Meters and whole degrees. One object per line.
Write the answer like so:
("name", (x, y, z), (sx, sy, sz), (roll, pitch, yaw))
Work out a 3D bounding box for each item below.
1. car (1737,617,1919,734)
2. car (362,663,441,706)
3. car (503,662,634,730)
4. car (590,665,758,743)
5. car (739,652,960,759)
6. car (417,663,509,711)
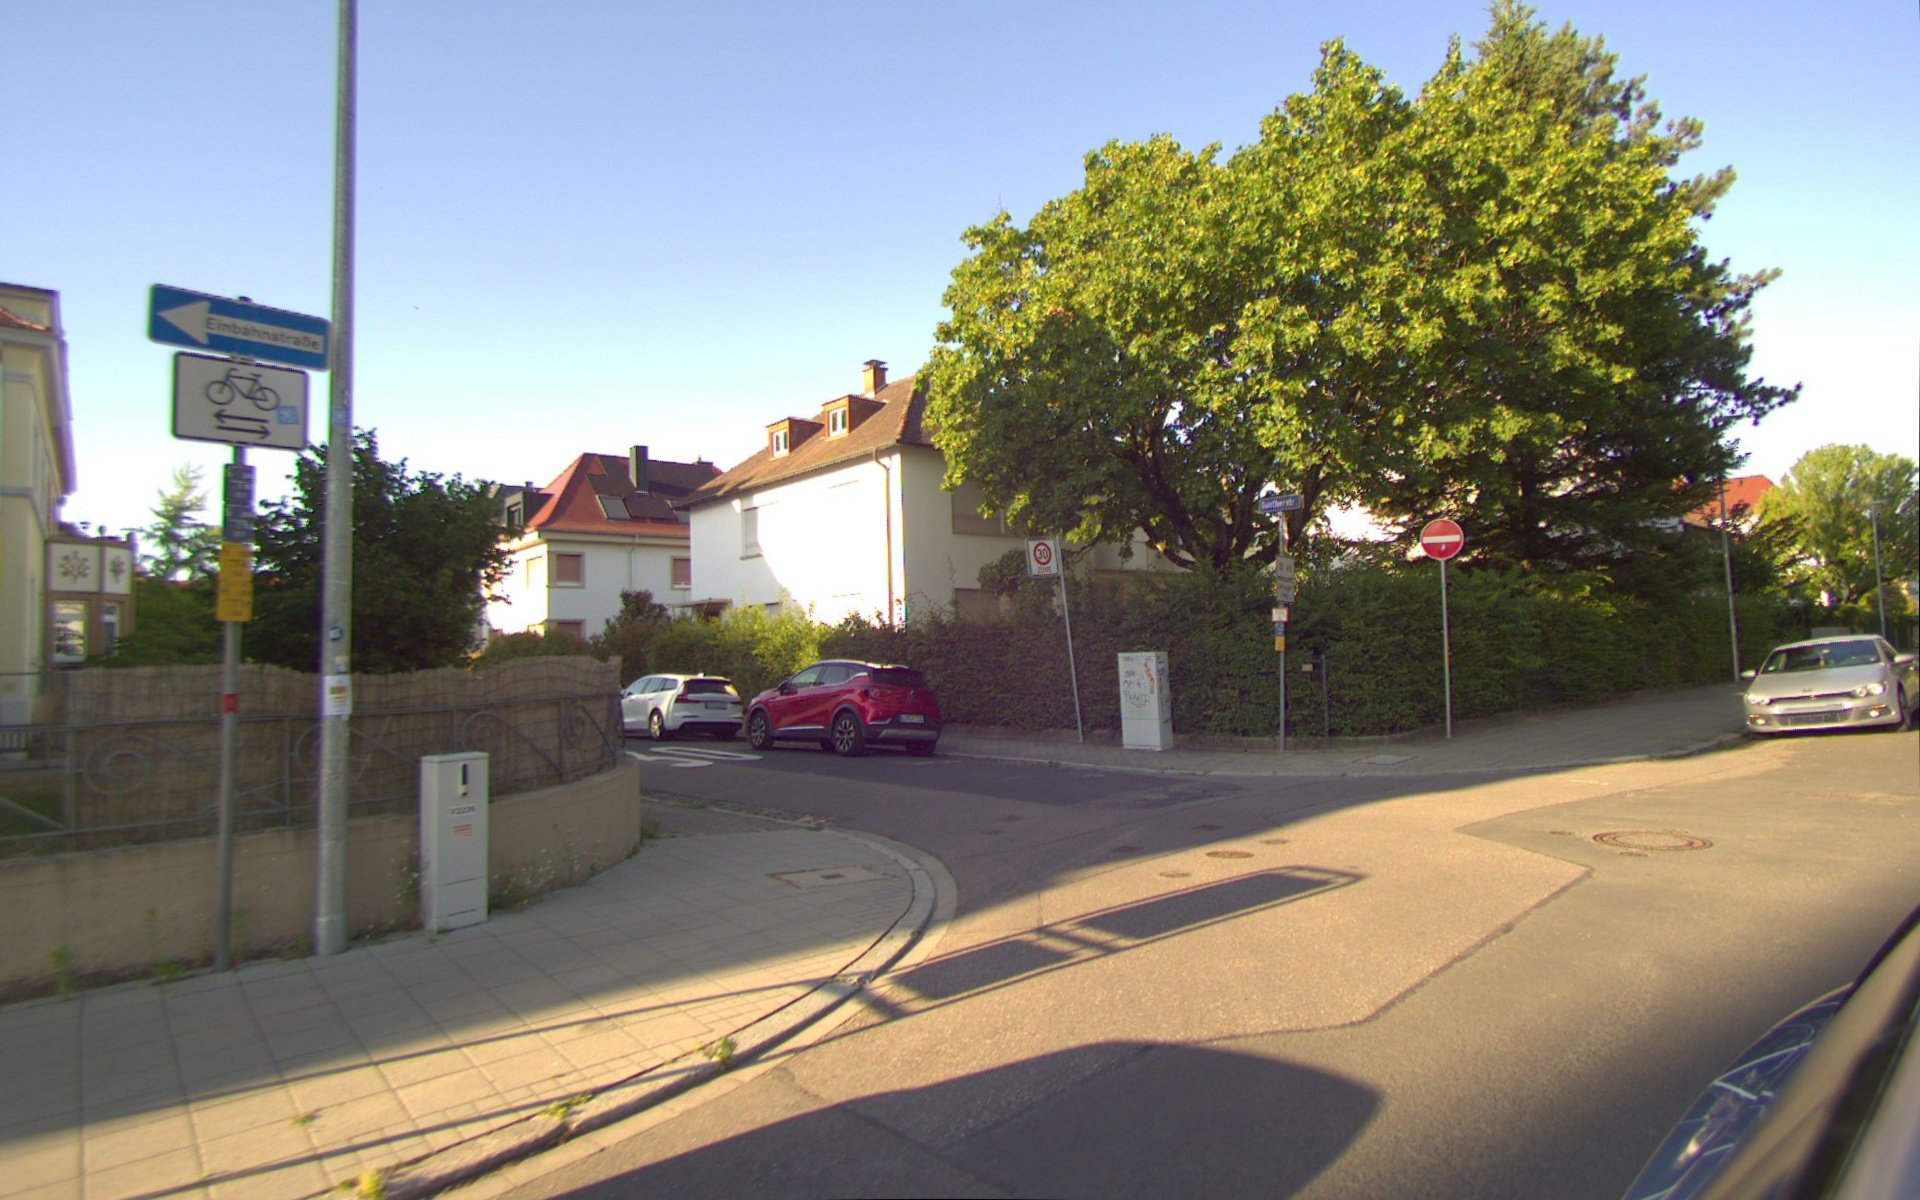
("car", (13.518, 1.116, 15.360), (4.000, 1.439, 1.758), (1, -10, -41))
("car", (-22.962, 3.468, 41.547), (1.750, 1.646, 4.247), (5, -7, -43))
("car", (-10.643, 2.577, 27.372), (1.750, 1.647, 4.247), (8, -8, -43))
("car", (-6.492, 2.317, 22.732), (1.839, 1.546, 4.248), (9, -9, -42))
("car", (-1.995, 1.814, 17.584), (1.815, 1.631, 3.845), (9, -9, -43))
("car", (-18.149, 3.163, 36.850), (1.750, 1.647, 4.247), (7, -8, -43))
